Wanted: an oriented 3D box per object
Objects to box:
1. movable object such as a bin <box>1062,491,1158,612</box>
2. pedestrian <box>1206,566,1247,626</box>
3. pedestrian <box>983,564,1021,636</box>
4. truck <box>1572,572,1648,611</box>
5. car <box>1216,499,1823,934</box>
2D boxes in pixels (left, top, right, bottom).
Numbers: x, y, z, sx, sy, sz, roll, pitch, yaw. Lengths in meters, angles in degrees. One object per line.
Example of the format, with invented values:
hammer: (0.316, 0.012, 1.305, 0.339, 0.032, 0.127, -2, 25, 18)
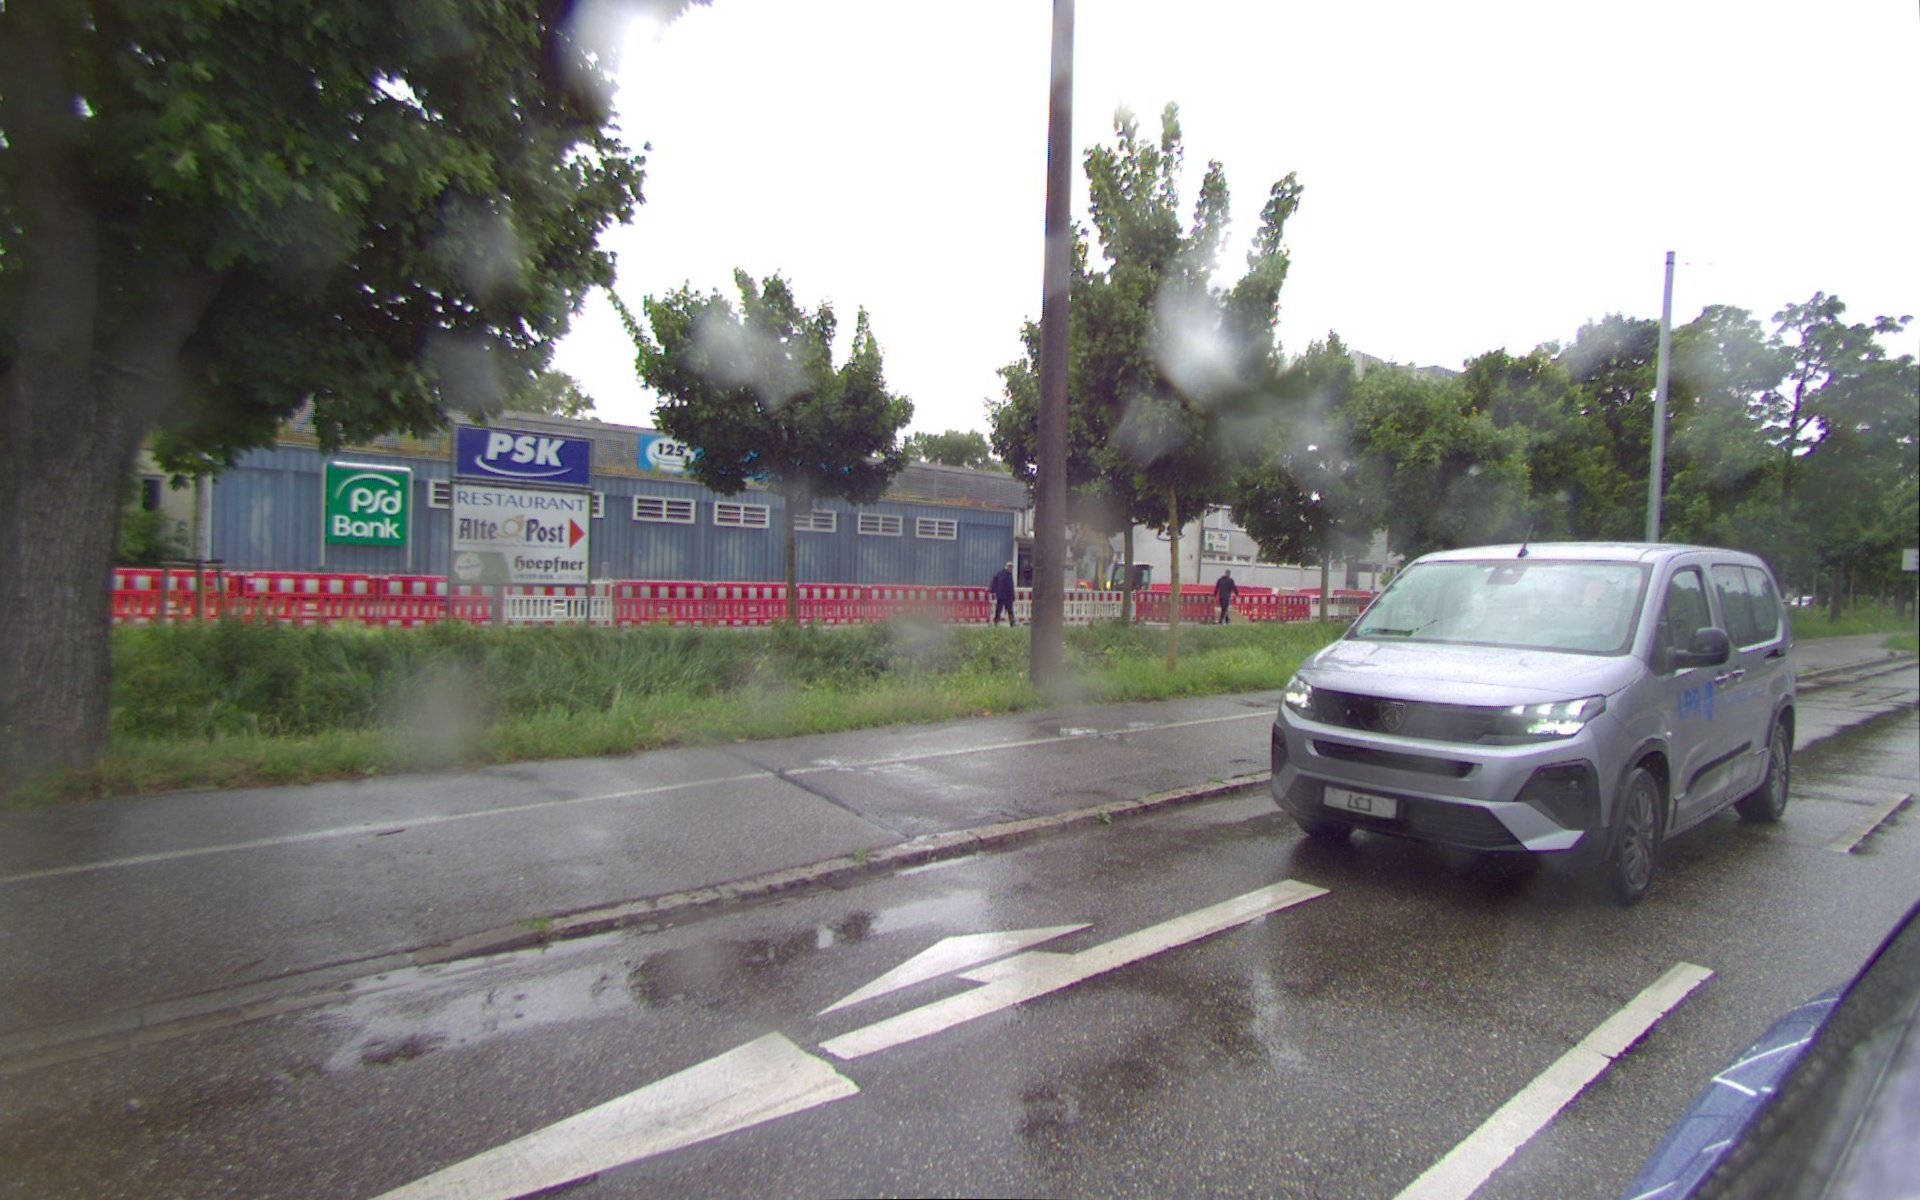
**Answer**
movable object such as a bin: (5.862, -1.824, 39.335, 3.839, 4.482, 1.557, 0, 0, -39)
pedestrian: (8.934, -0.150, 33.890, 1.192, 1.960, 0.814, 0, 0, -42)
pedestrian: (1.139, -0.002, 27.335, 0.861, 1.920, 0.580, 0, 0, -41)
truck: (51.458, -0.679, 79.994, 8.599, 2.935, 2.808, -1, 1, -42)
car: (3.791, 0.463, 6.469, 4.483, 1.818, 1.997, 0, 1, -41)
